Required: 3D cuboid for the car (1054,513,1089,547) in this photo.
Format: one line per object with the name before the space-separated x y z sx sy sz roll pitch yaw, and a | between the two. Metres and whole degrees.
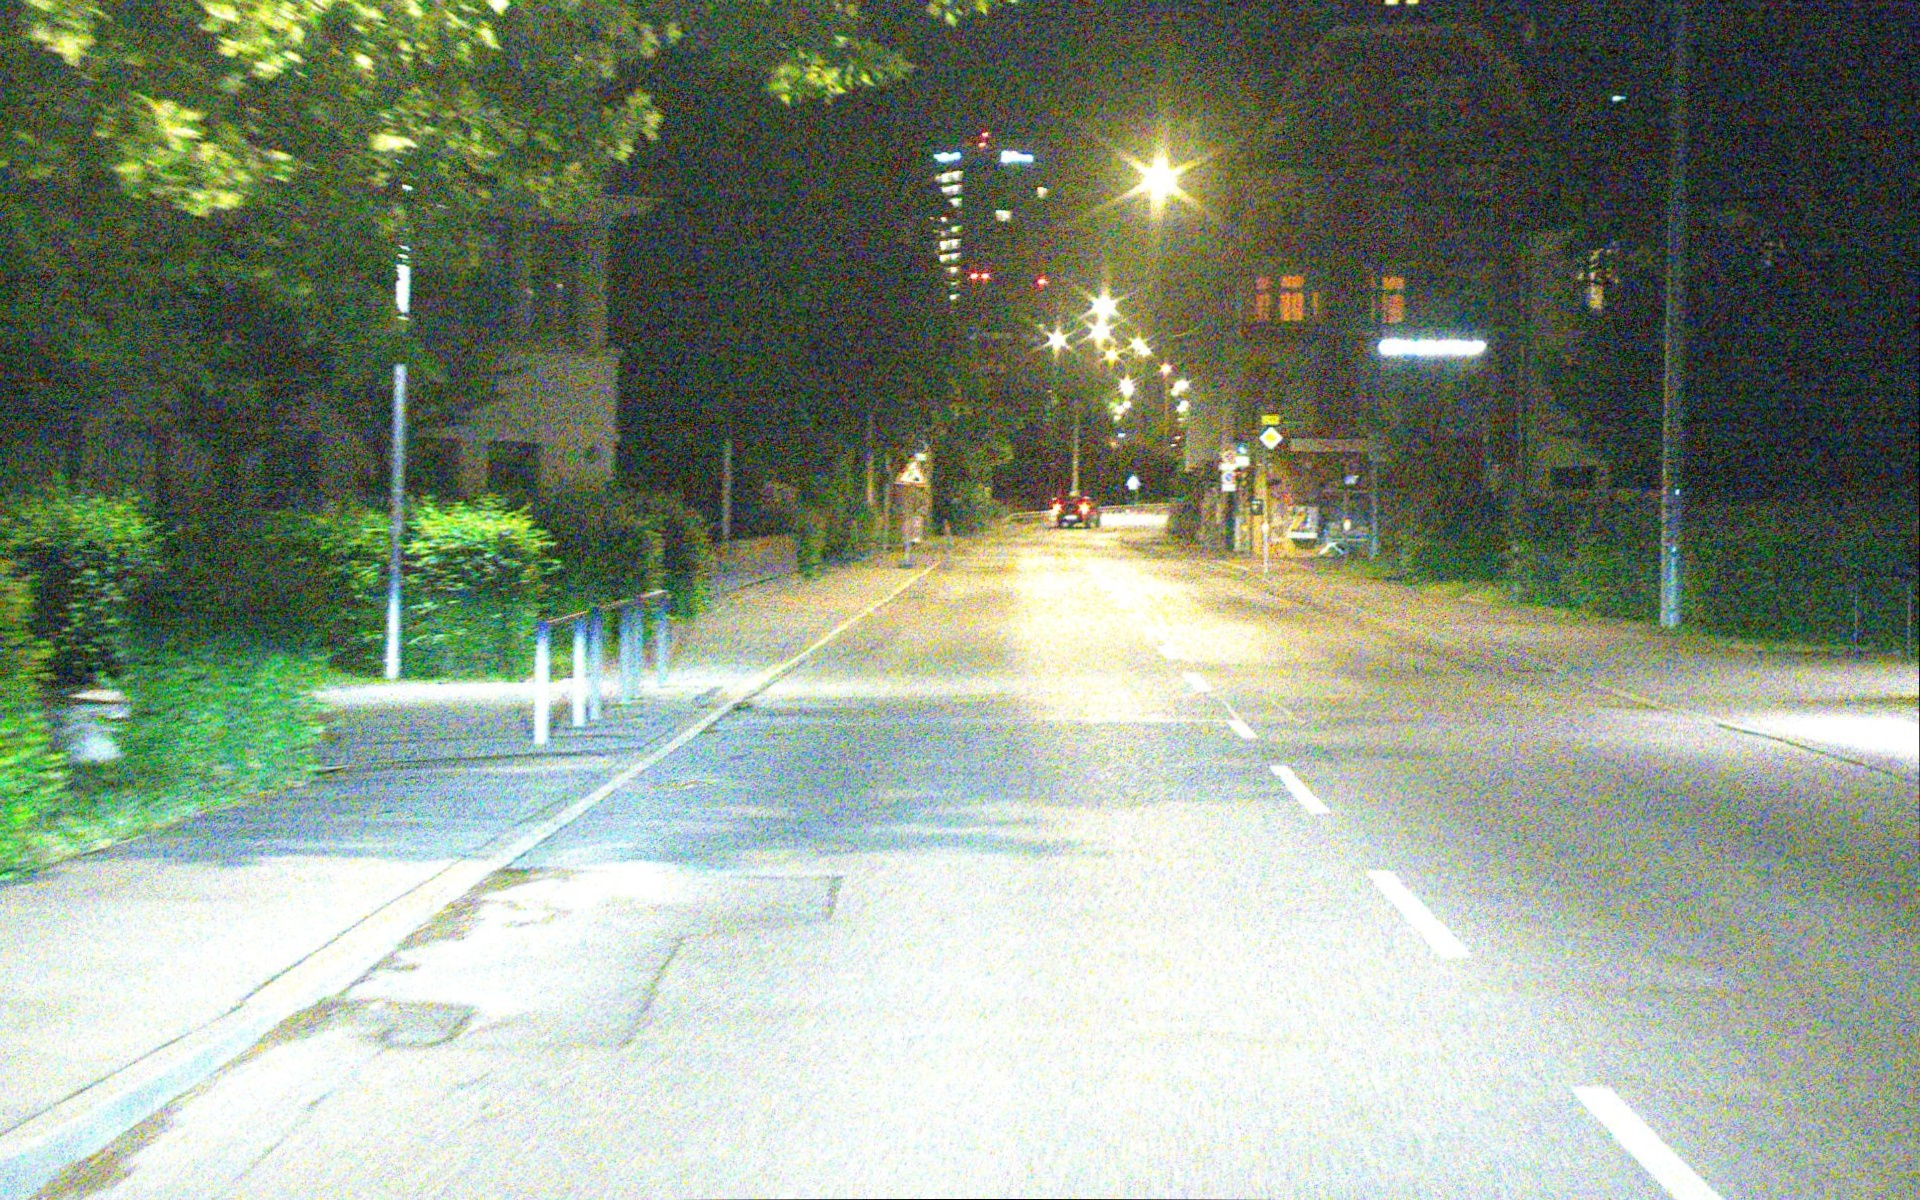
car | 6.353 -4.006 196.101 1.925 1.848 4.000 0 0 2
